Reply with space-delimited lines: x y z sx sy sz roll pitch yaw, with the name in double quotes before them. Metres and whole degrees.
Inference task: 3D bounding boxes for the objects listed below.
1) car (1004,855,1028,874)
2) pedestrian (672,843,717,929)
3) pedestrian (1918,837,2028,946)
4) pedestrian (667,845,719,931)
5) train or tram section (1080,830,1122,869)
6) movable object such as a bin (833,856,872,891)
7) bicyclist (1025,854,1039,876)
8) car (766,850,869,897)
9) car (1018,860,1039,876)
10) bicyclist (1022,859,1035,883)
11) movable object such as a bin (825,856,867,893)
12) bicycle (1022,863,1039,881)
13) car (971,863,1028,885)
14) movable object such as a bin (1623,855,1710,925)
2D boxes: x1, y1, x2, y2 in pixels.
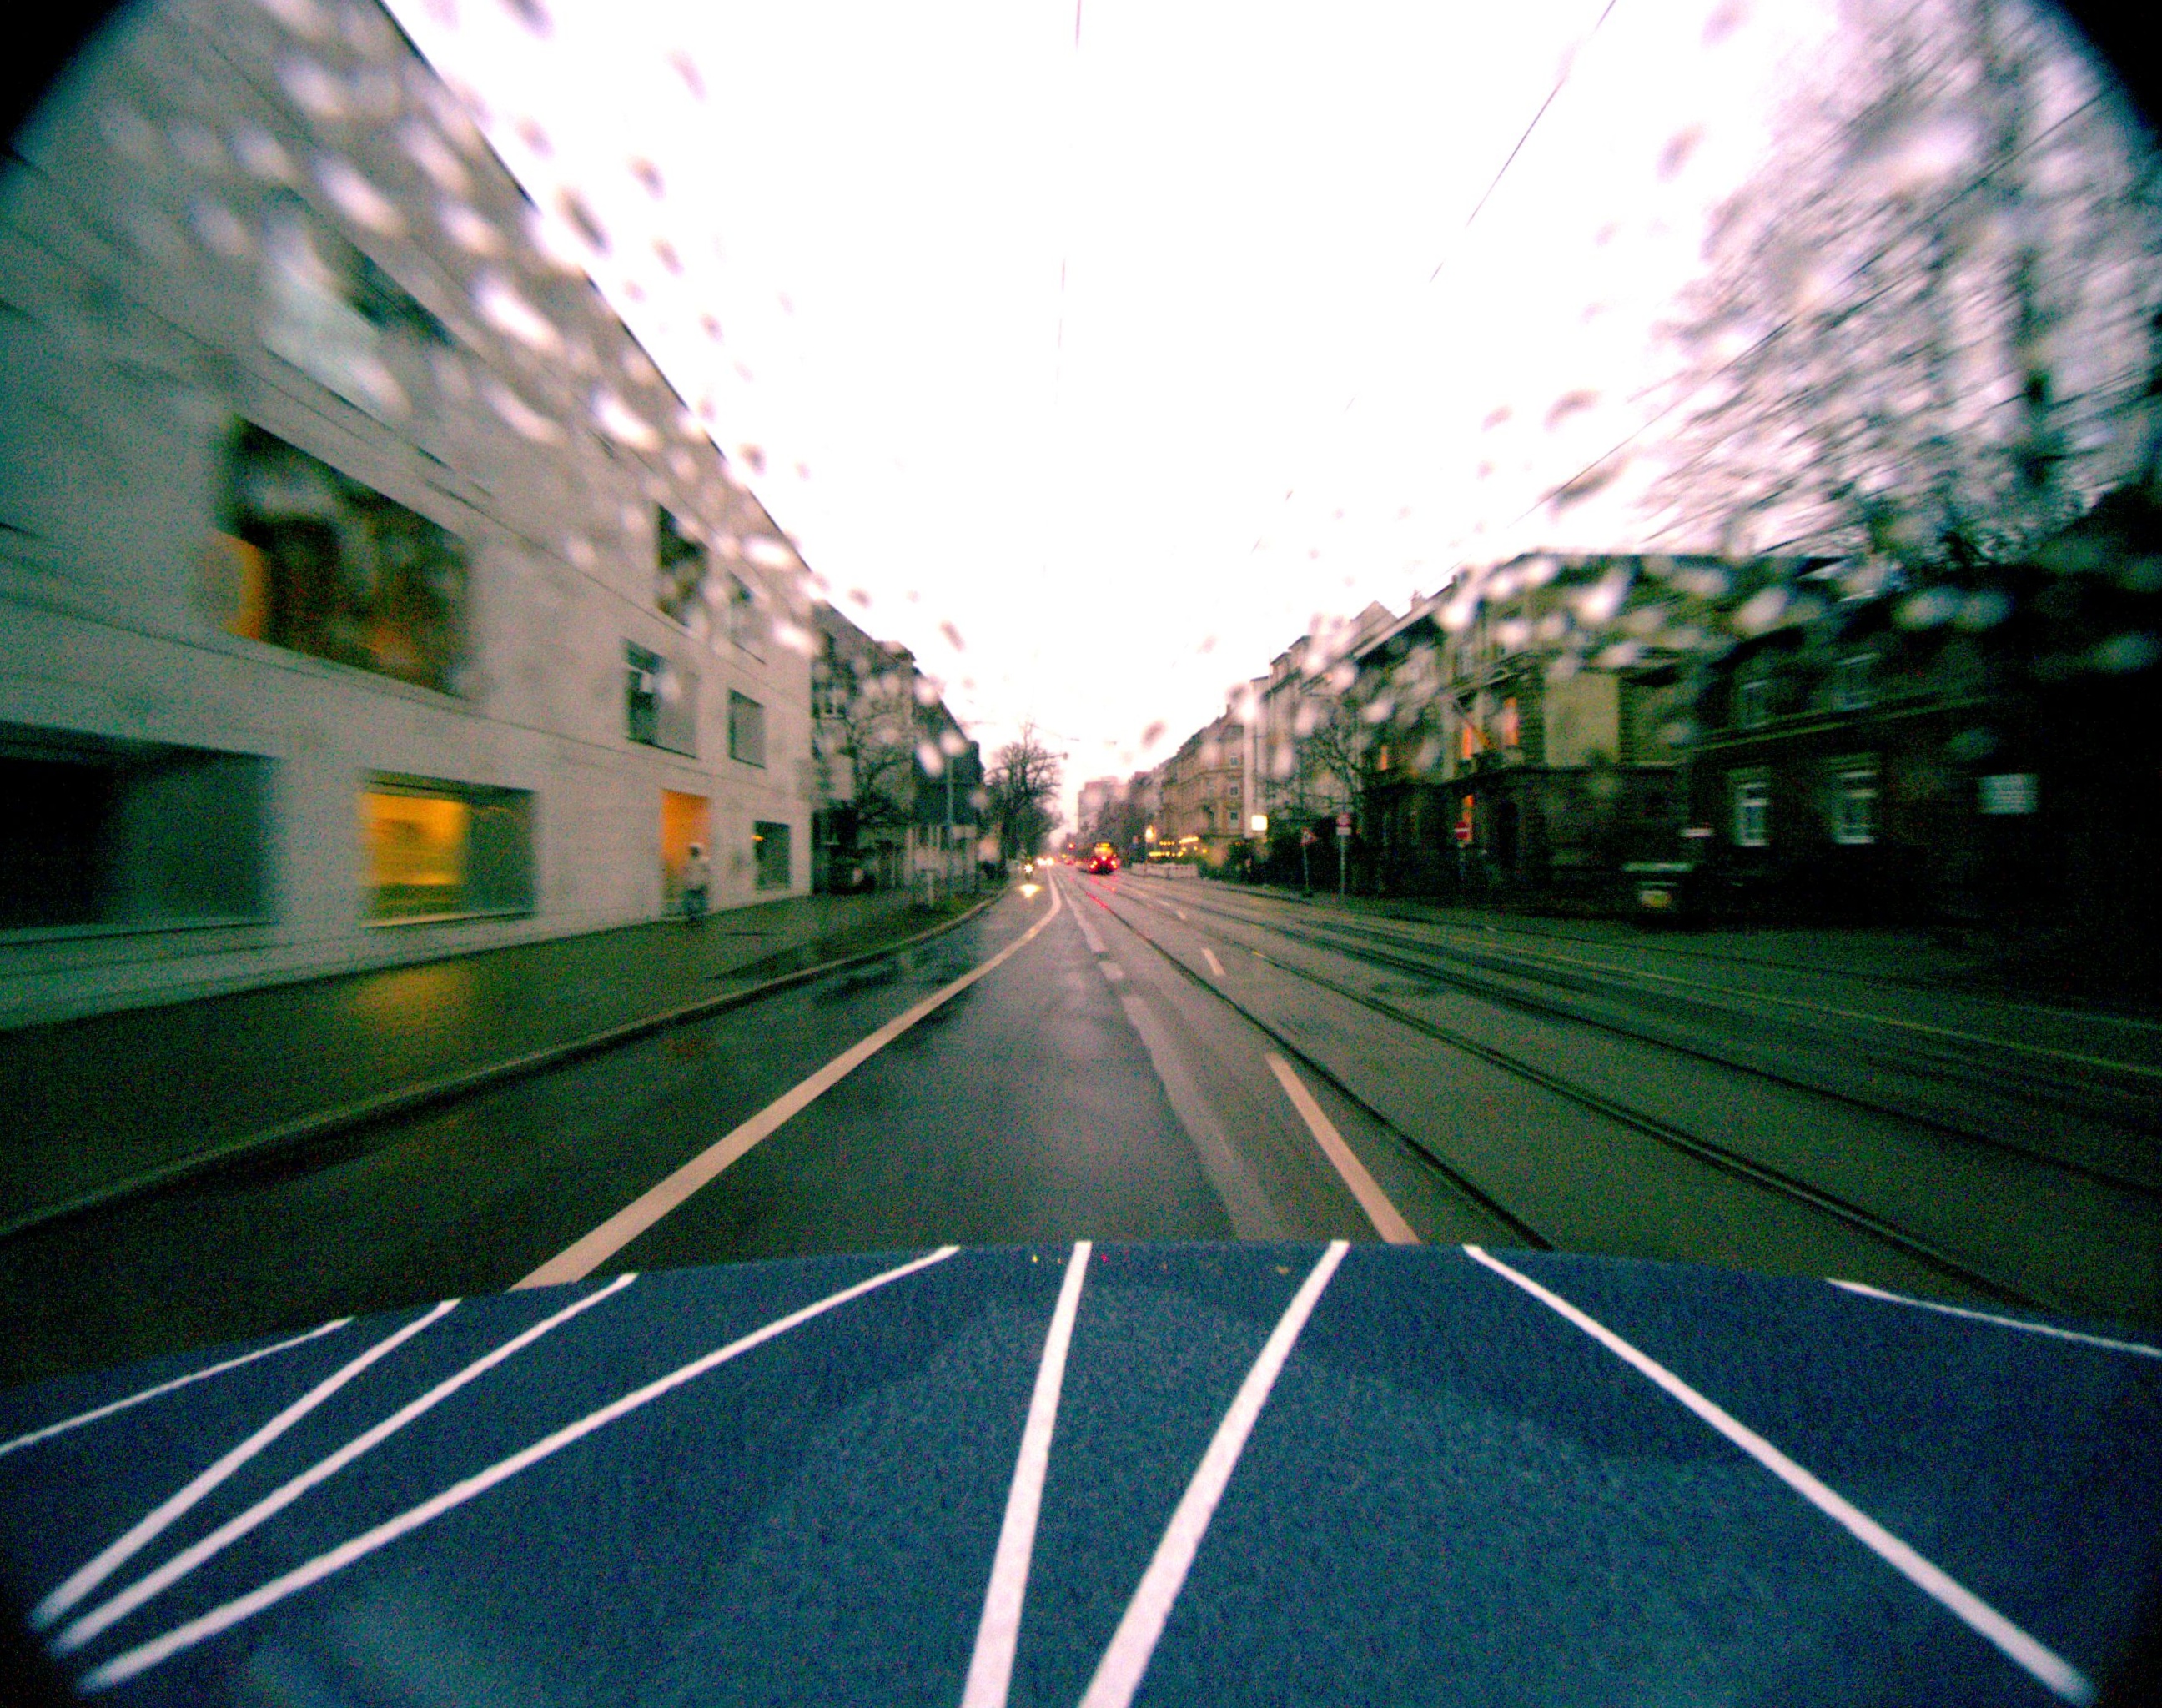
"car" -5.666 0.936 66.558 1.658 1.507 3.502 -3 1 2
"pedestrian" -8.497 0.685 16.714 0.657 1.849 0.659 1 1 -1
"pedestrian" 14.794 0.589 12.620 0.925 1.693 0.946 -3 1 -25
"pedestrian" -8.530 0.722 16.717 0.773 1.848 0.718 1 1 0
"train or tram section" 1.918 -0.506 87.396 2.886 3.715 27.325 -3 0 -2
"movable object such as a bin" -9.627 0.802 32.062 1.260 1.437 1.418 0 1 -5
"bicyclist" -3.094 0.695 47.927 0.716 1.335 0.720 -3 1 5
"car" -10.477 0.758 30.376 3.459 1.637 1.731 -3 1 -2
"car" -5.275 1.395 76.505 1.658 1.507 3.502 -3 1 2
"bicyclist" -3.559 1.130 51.775 0.749 1.572 0.797 -3 1 -7
"movable object such as a bin" -9.332 0.799 30.274 1.259 1.437 1.418 0 1 -2
"bicycle" -3.173 1.155 47.738 0.723 1.083 2.287 -2 -1 5
"car" -6.100 1.455 56.741 3.859 1.421 1.860 -3 1 -19
"movable object such as a bin" 13.206 0.792 17.153 0.988 1.456 1.340 -3 1 -40
